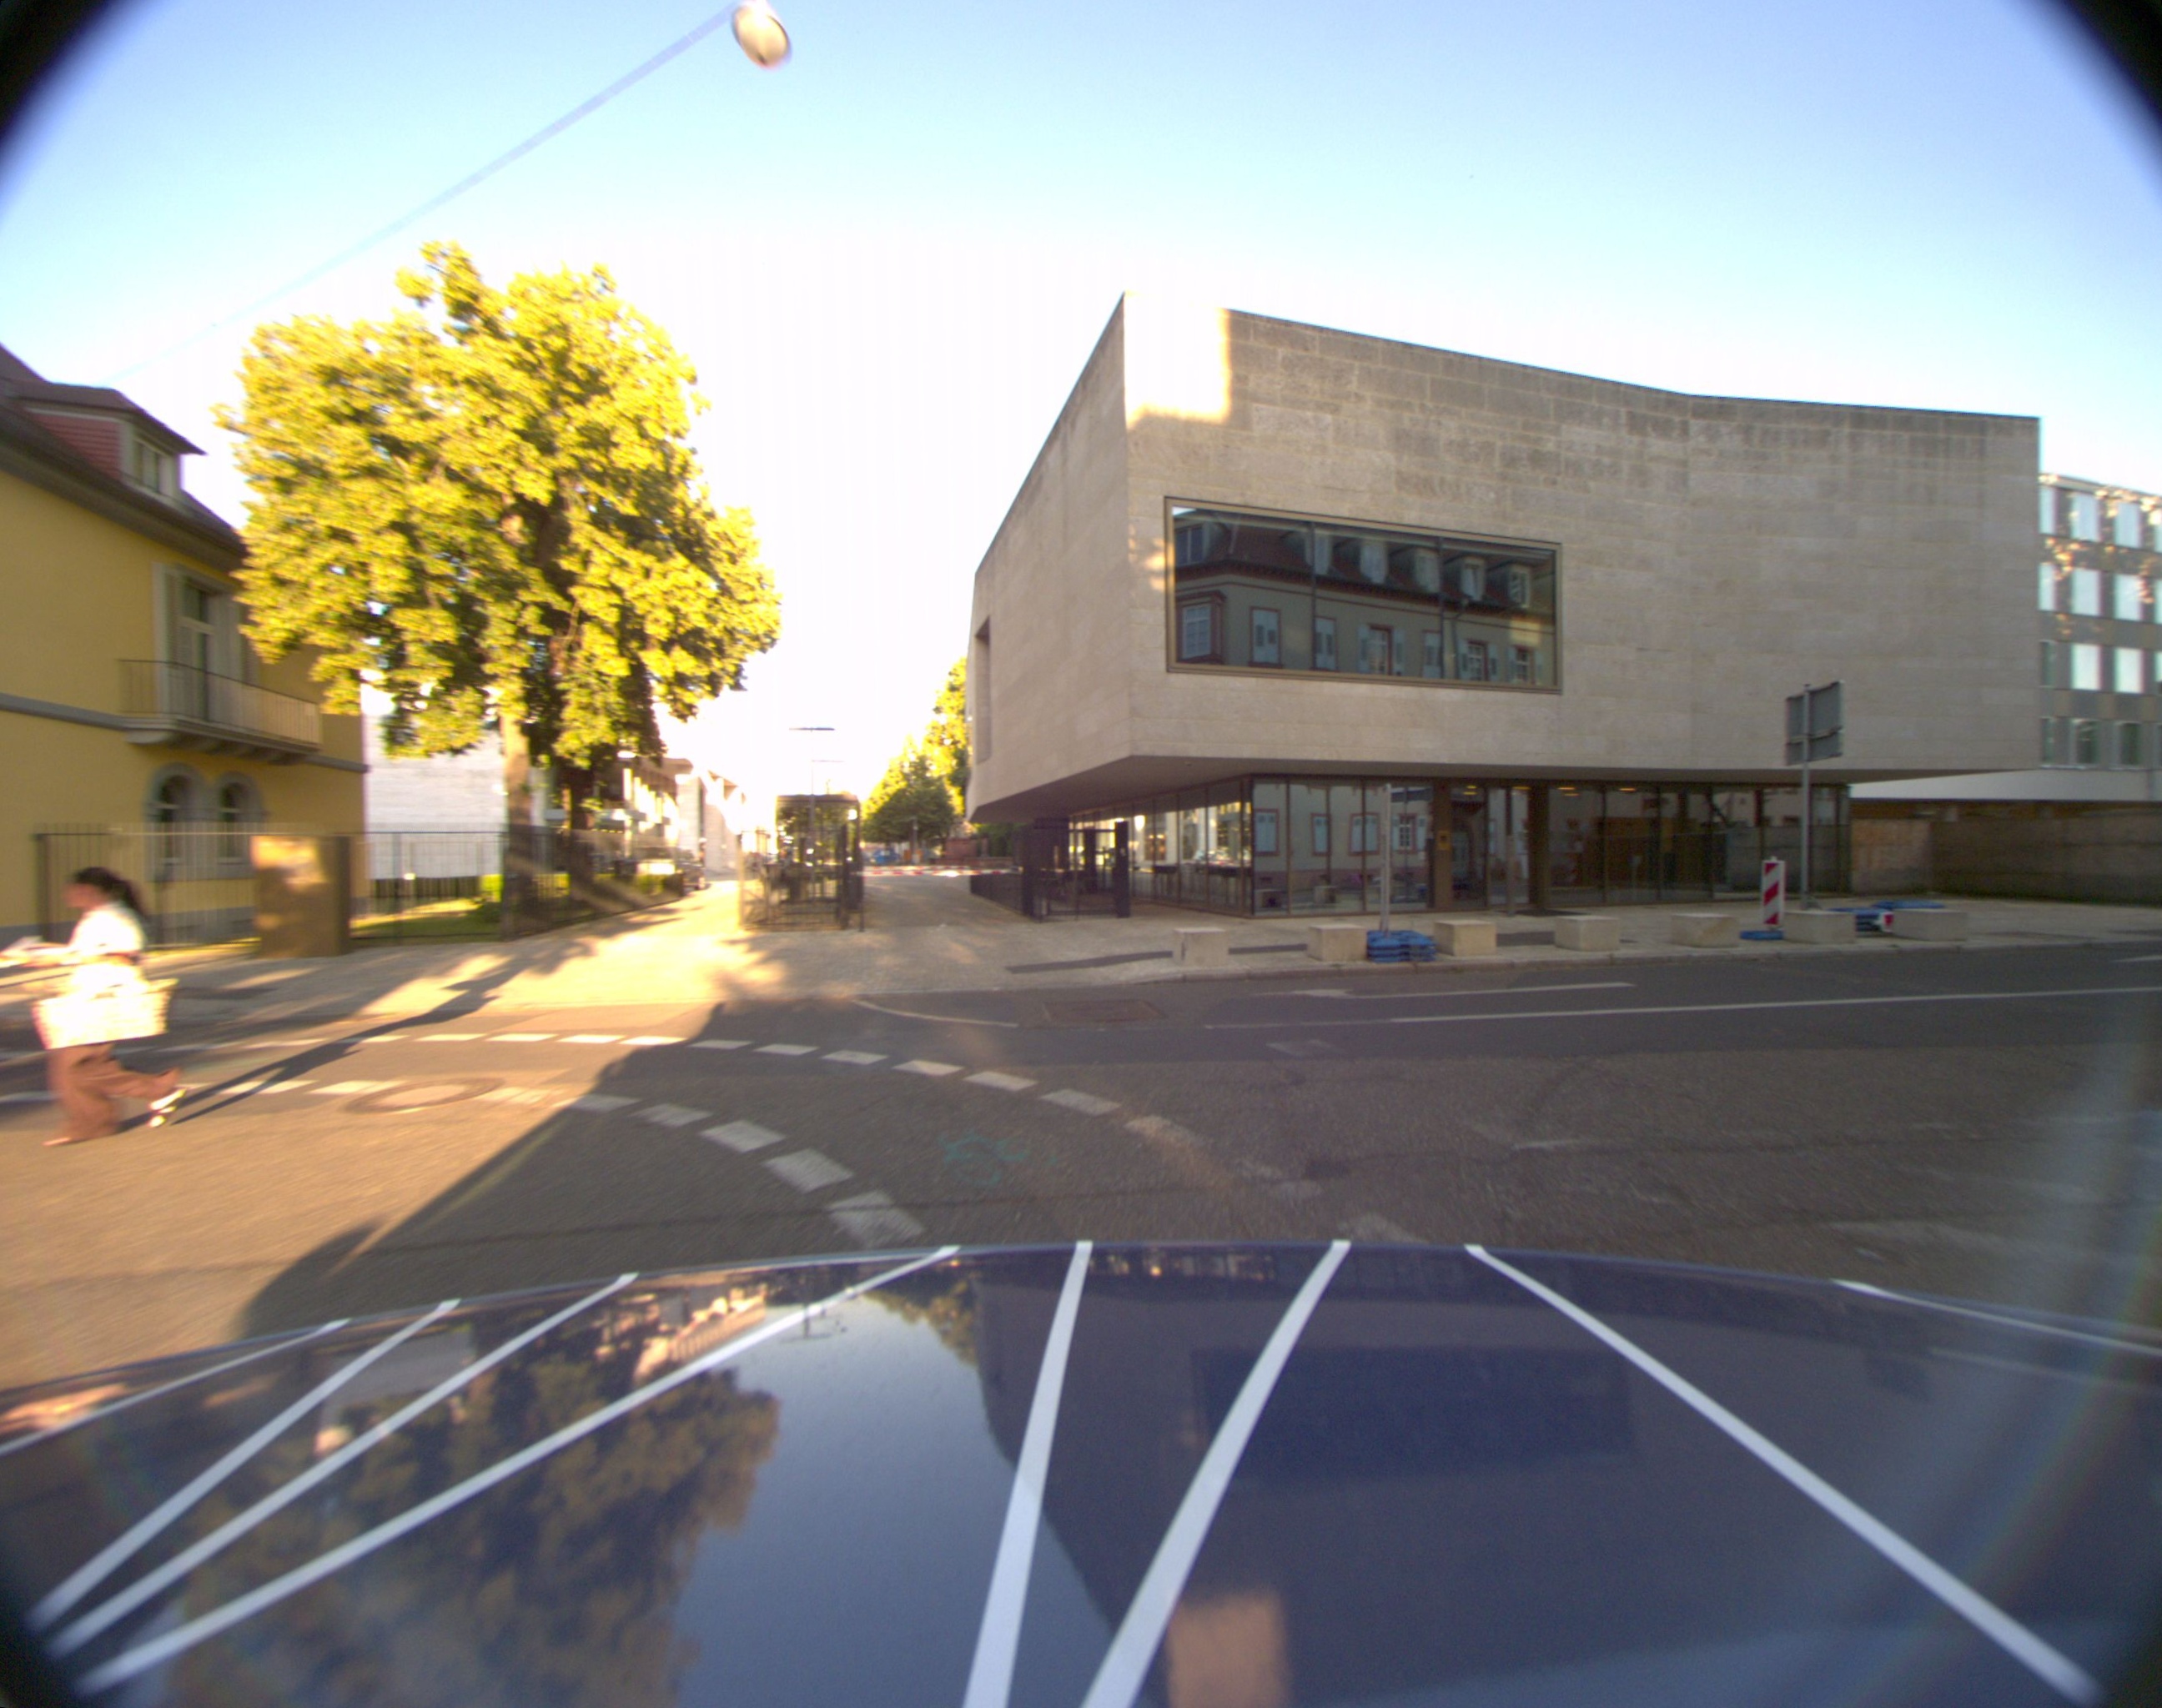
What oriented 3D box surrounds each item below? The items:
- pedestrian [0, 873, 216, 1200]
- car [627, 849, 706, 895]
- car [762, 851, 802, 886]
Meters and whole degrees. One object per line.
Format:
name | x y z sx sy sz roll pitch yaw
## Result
pedestrian | -5.707 0.953 4.277 0.638 1.649 0.962 0 1 30
car | -16.859 0.673 31.088 1.710 1.726 4.059 1 1 -12
car | -14.995 0.674 38.216 1.712 1.575 3.672 -2 2 -20
